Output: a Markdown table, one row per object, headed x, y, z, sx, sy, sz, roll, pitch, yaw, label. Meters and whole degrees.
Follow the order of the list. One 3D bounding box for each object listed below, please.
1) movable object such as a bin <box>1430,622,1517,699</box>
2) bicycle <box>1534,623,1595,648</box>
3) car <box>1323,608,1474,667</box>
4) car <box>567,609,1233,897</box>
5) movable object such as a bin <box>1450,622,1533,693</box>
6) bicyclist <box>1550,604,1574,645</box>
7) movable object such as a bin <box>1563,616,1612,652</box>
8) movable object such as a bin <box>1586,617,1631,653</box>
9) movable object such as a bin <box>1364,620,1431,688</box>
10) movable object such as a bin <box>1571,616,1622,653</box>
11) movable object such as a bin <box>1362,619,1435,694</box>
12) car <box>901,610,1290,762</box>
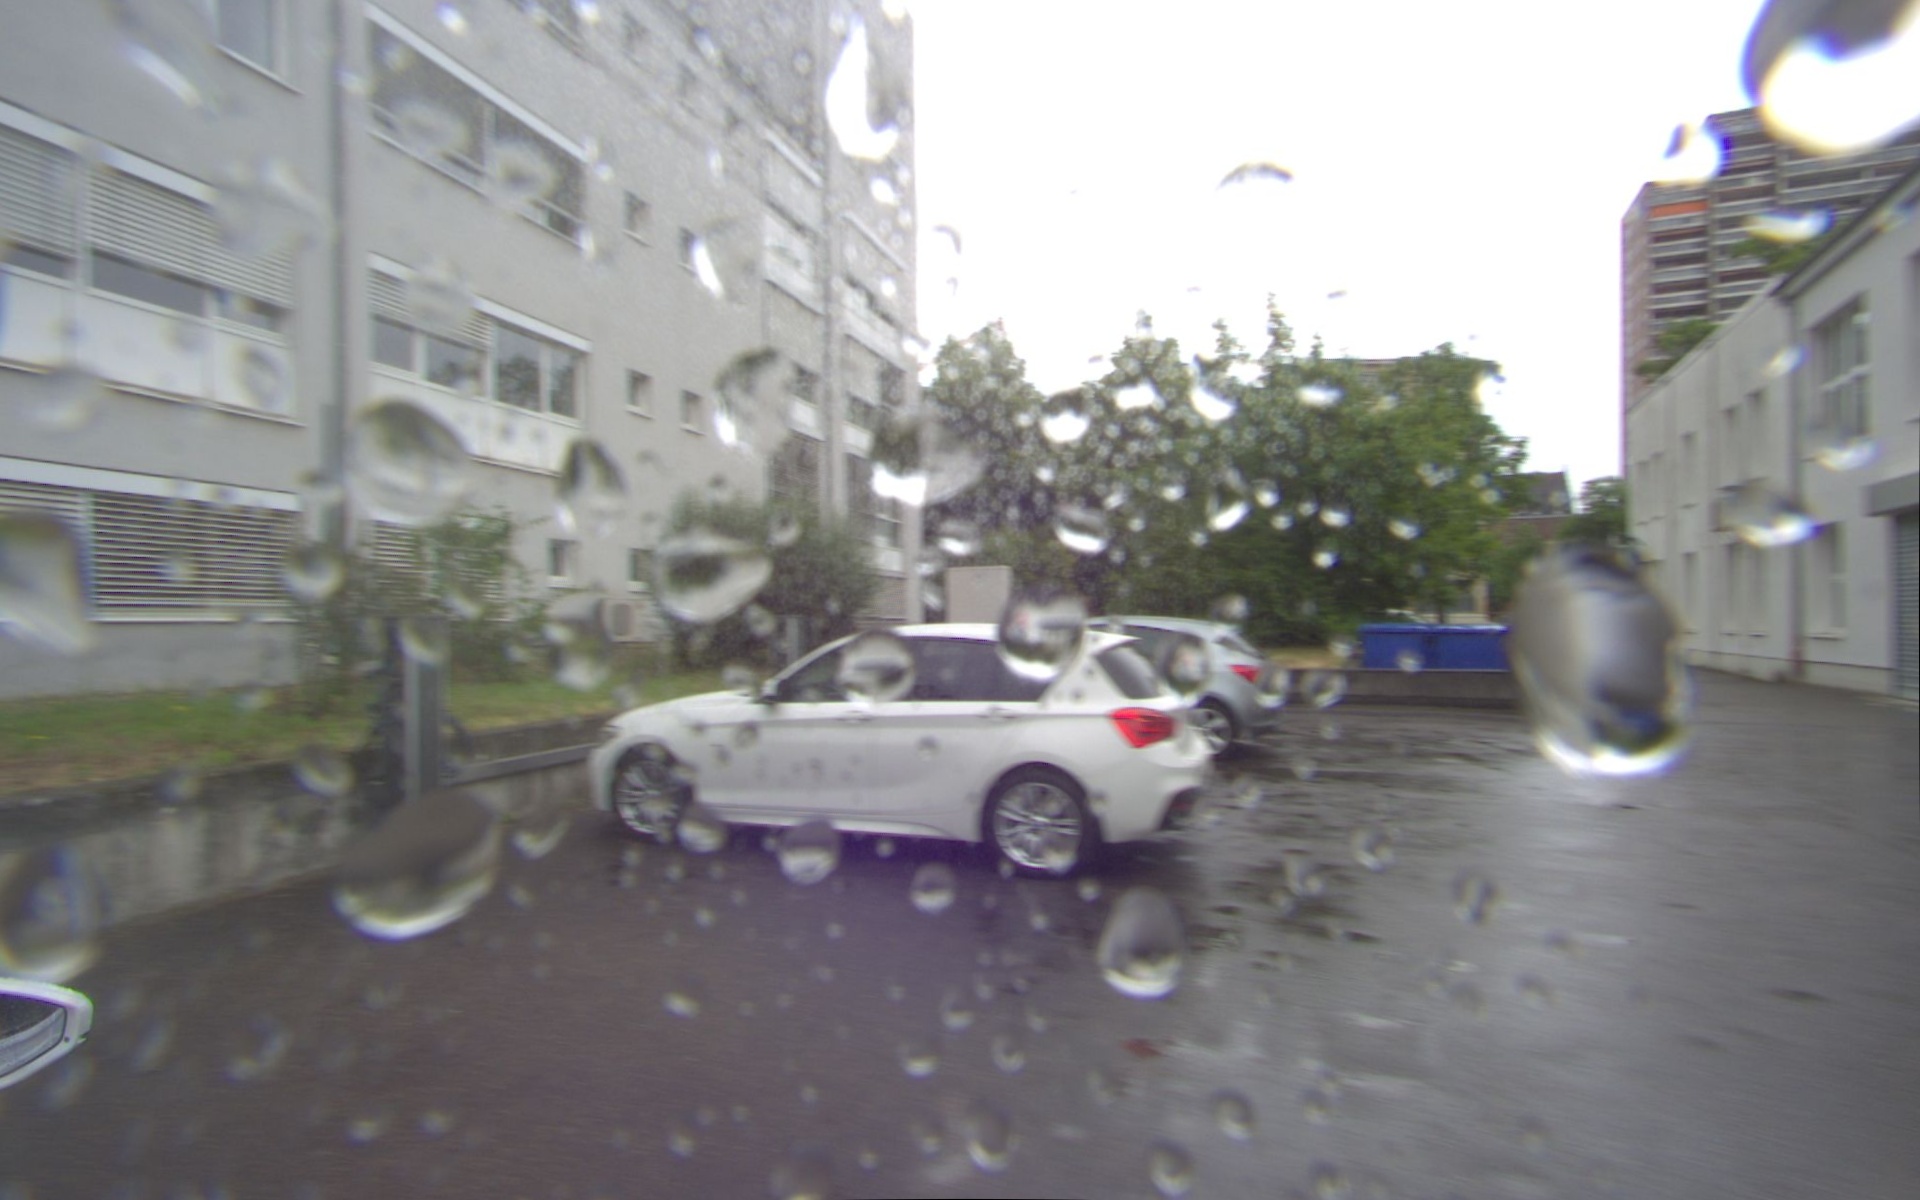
| x | y | z | sx | sy | sz | roll | pitch | yaw | label |
| --- | --- | --- | --- | --- | --- | --- | --- | --- | --- |
| 9.700 | 1.149 | 19.002 | 1.292 | 1.374 | 1.901 | -2 | -3 | 23 | movable object such as a bin |
| 30.310 | 1.790 | 50.223 | 2.687 | 1.201 | 0.737 | -1 | 0 | -6 | bicycle |
| 15.244 | 1.364 | 34.918 | 4.623 | 1.904 | 2.118 | -2 | -4 | 26 | car |
| -0.338 | 0.860 | 6.905 | 4.147 | 1.508 | 1.997 | -1 | -2 | 20 | car |
| 10.884 | 1.188 | 20.587 | 1.292 | 1.374 | 1.901 | -2 | -3 | 23 | movable object such as a bin |
| 30.190 | 1.223 | 50.210 | 0.695 | 2.040 | 0.746 | 0 | 0 | -6 | bicyclist |
| 26.881 | 1.482 | 42.937 | 1.466 | 1.466 | 1.312 | -2 | -3 | 19 | movable object such as a bin |
| 25.966 | 1.423 | 40.135 | 1.167 | 1.391 | 1.312 | -2 | -3 | 19 | movable object such as a bin |
| 9.312 | 1.159 | 21.370 | 1.213 | 1.374 | 1.966 | -2 | -3 | 23 | movable object such as a bin |
| 26.441 | 1.440 | 41.664 | 1.466 | 1.466 | 1.312 | -2 | -3 | 19 | movable object such as a bin |
| 8.532 | 1.102 | 19.535 | 1.213 | 1.374 | 1.966 | -2 | -3 | 23 | movable object such as a bin |
| 1.615 | 0.916 | 11.592 | 4.147 | 1.508 | 1.997 | -1 | -2 | 20 | car |
